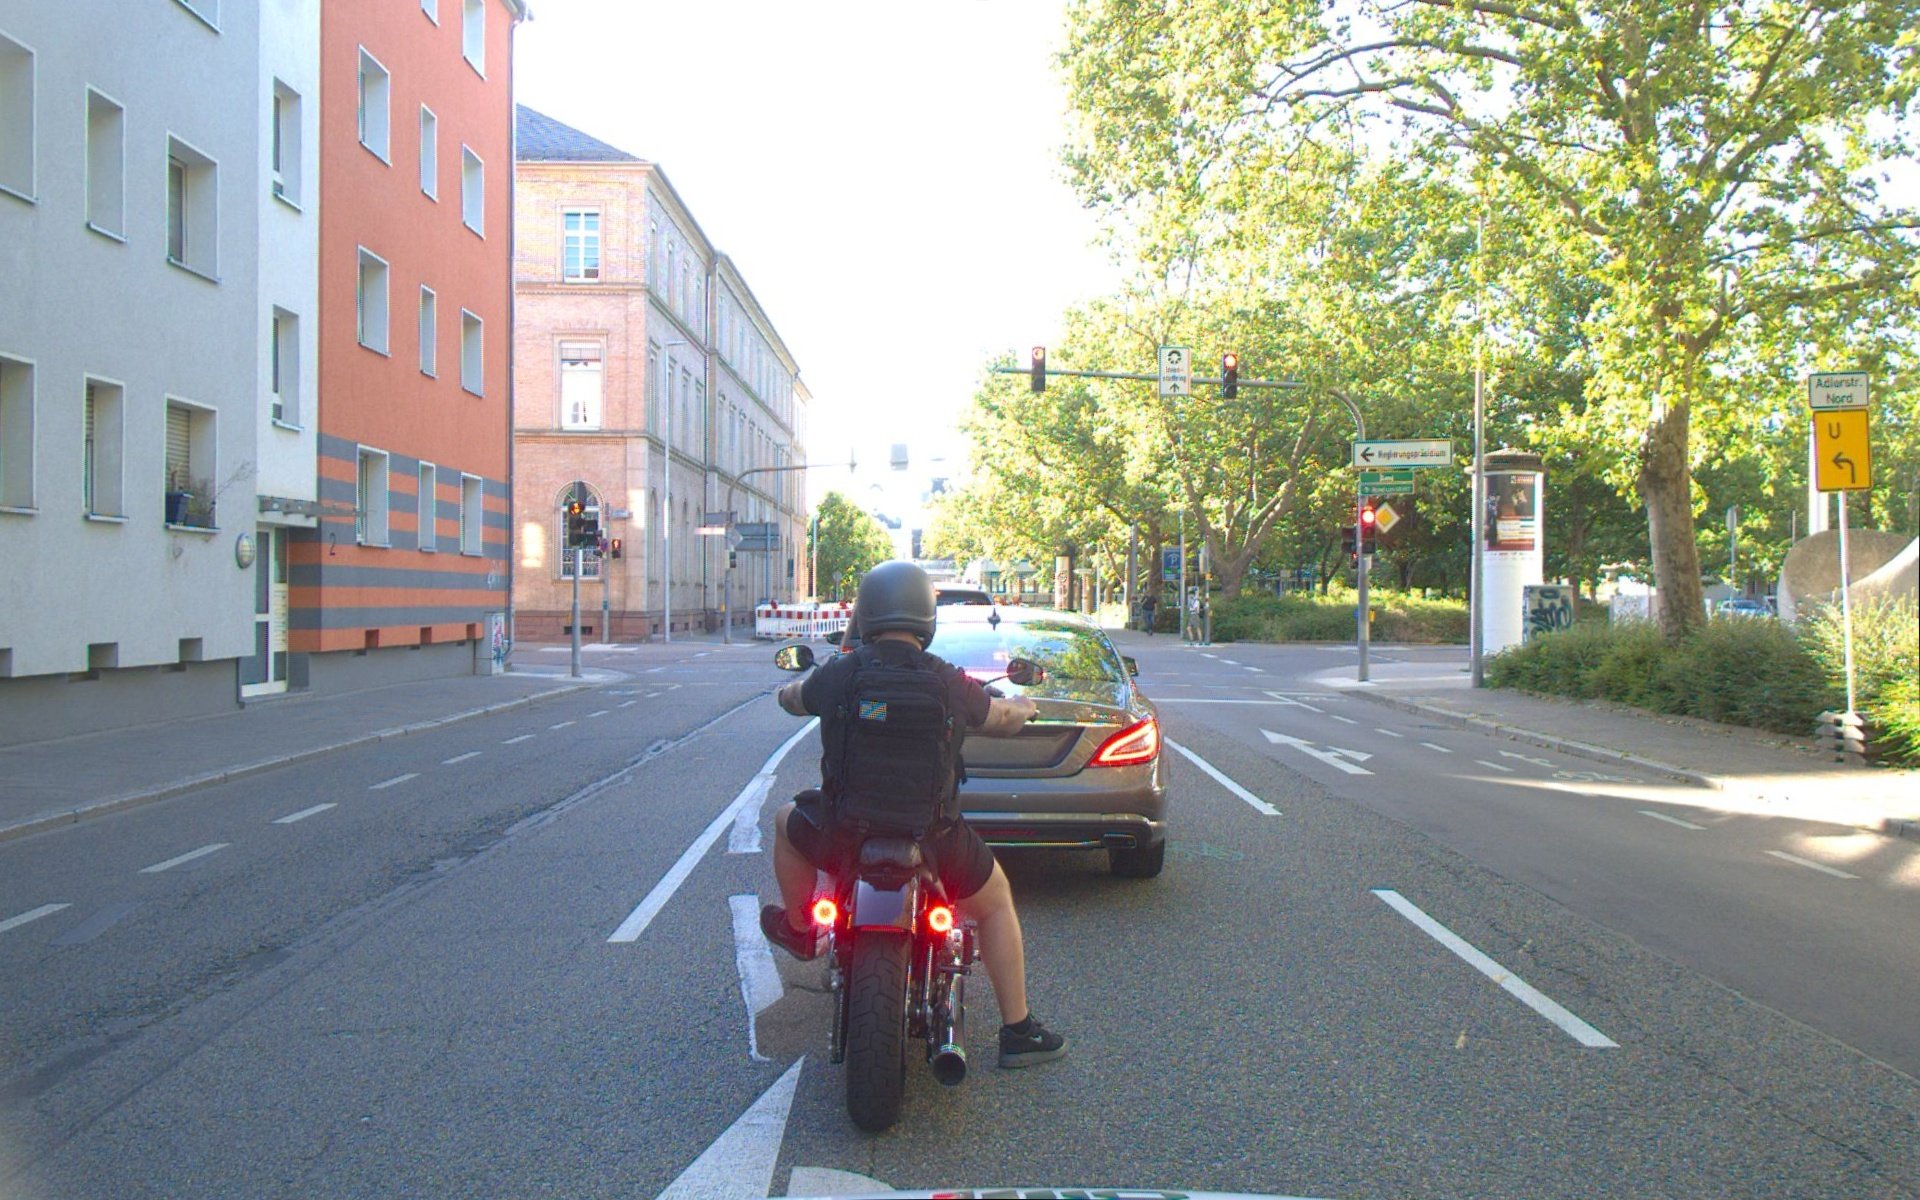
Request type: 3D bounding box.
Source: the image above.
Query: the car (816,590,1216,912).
[{"bbox_3d":[0.234,0.695,9.621,1.844,1.475,3.819,1,0,-1],"label":"car"}]

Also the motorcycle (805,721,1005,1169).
[{"bbox_3d":[-0.156,0.971,5.307,0.503,1.020,2.013,1,0,-1],"label":"motorcycle"}]

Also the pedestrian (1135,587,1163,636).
[{"bbox_3d":[7.641,0.459,66.902,0.741,1.943,0.917,1,-1,-29],"label":"pedestrian"}]

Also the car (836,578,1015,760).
[{"bbox_3d":[-0.332,0.607,16.729,1.588,1.622,3.999,0,0,-1],"label":"car"}]

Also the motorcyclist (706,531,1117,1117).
[{"bbox_3d":[-0.143,0.632,5.285,1.125,1.626,1.288,1,0,-1],"label":"motorcyclist"}]

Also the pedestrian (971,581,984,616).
[{"bbox_3d":[1.076,-0.091,100.880,0.748,2.087,0.712,1,-1,-1],"label":"pedestrian"}]

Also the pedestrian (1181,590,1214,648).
[{"bbox_3d":[7.720,0.606,53.741,0.980,1.858,1.077,1,0,5],"label":"pedestrian"}]
